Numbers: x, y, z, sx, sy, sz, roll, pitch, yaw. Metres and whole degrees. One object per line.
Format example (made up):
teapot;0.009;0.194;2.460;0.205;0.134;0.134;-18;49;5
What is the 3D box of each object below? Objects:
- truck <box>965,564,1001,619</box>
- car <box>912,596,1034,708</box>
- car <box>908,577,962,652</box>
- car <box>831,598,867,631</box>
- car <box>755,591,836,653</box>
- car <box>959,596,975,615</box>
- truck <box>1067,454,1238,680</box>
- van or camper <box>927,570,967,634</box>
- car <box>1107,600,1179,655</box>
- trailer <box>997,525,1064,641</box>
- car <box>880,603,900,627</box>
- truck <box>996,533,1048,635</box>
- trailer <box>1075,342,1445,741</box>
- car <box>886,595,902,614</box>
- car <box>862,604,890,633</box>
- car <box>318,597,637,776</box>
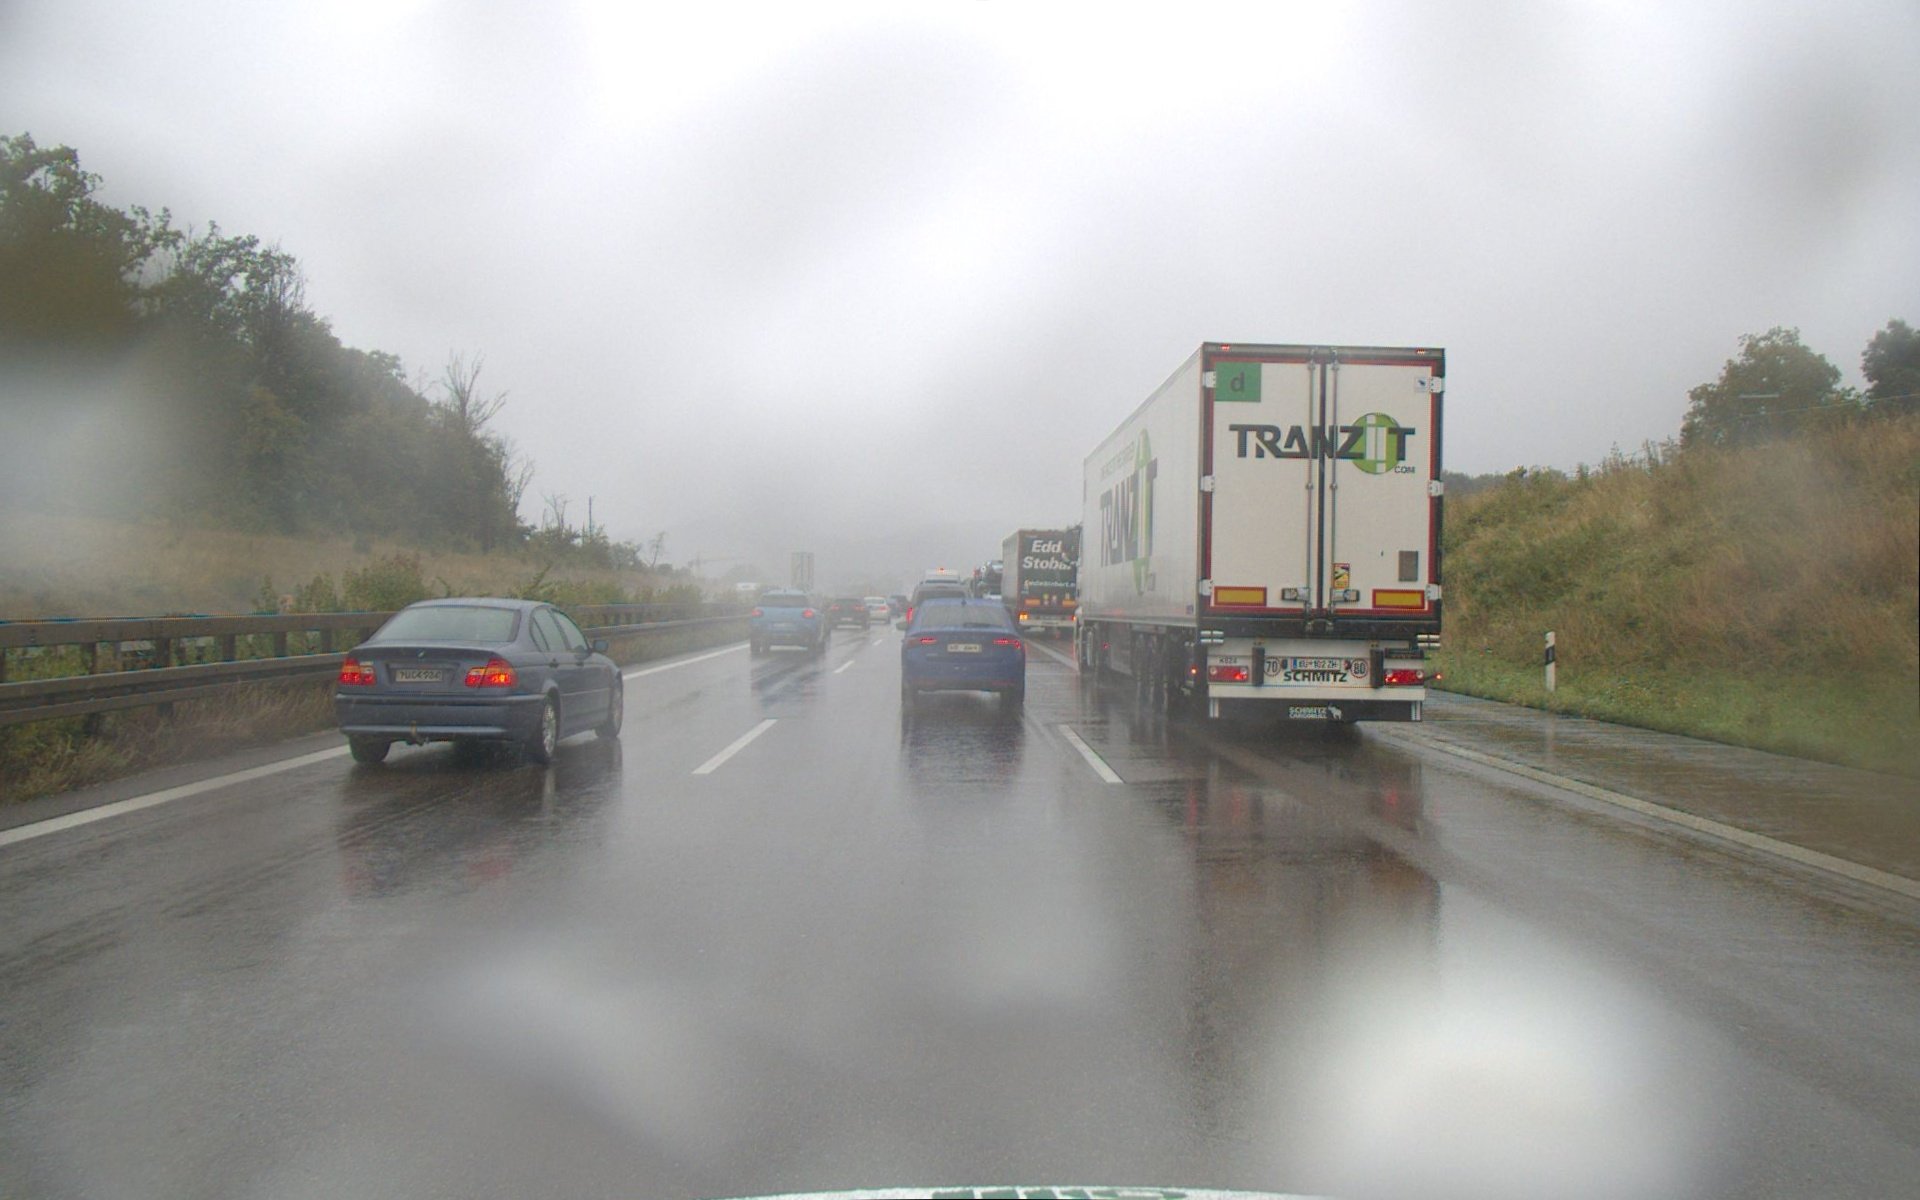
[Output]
truck;1.471;-0.573;108.741;1.953;3.481;8.029;0;1;-2
car;0.168;0.687;23.892;1.602;1.470;4.000;0;0;0
car;-0.641;0.342;42.030;1.309;1.811;3.321;0;0;-1
car;-4.950;0.640;74.071;1.410;1.445;3.321;0;0;-1
car;-4.252;0.551;43.201;1.686;1.550;4.000;0;0;0
car;0.663;0.519;157.865;1.419;1.815;3.408;1;0;-1
truck;3.506;-0.582;31.137;2.577;3.894;4.790;0;0;-1
van or camper;-0.624;0.068;76.125;1.761;2.855;4.767;0;0;-1
car;4.604;0.661;41.900;1.395;1.310;3.460;0;0;-1
trailer;2.705;-0.645;66.248;2.005;4.250;11.446;0;0;-1
car;-5.418;1.180;128.081;1.419;1.815;3.408;1;0;-1
truck;2.633;-0.683;71.501;2.005;4.266;3.999;0;0;-1
trailer;3.599;-0.636;24.354;2.577;4.083;14.626;0;0;-1
car;-6.366;0.408;160.152;1.419;1.815;3.408;1;0;-1
car;-4.598;0.998;91.261;1.410;1.560;3.321;0;0;-1
car;-4.293;0.697;15.412;1.682;1.424;4.230;0;0;0
